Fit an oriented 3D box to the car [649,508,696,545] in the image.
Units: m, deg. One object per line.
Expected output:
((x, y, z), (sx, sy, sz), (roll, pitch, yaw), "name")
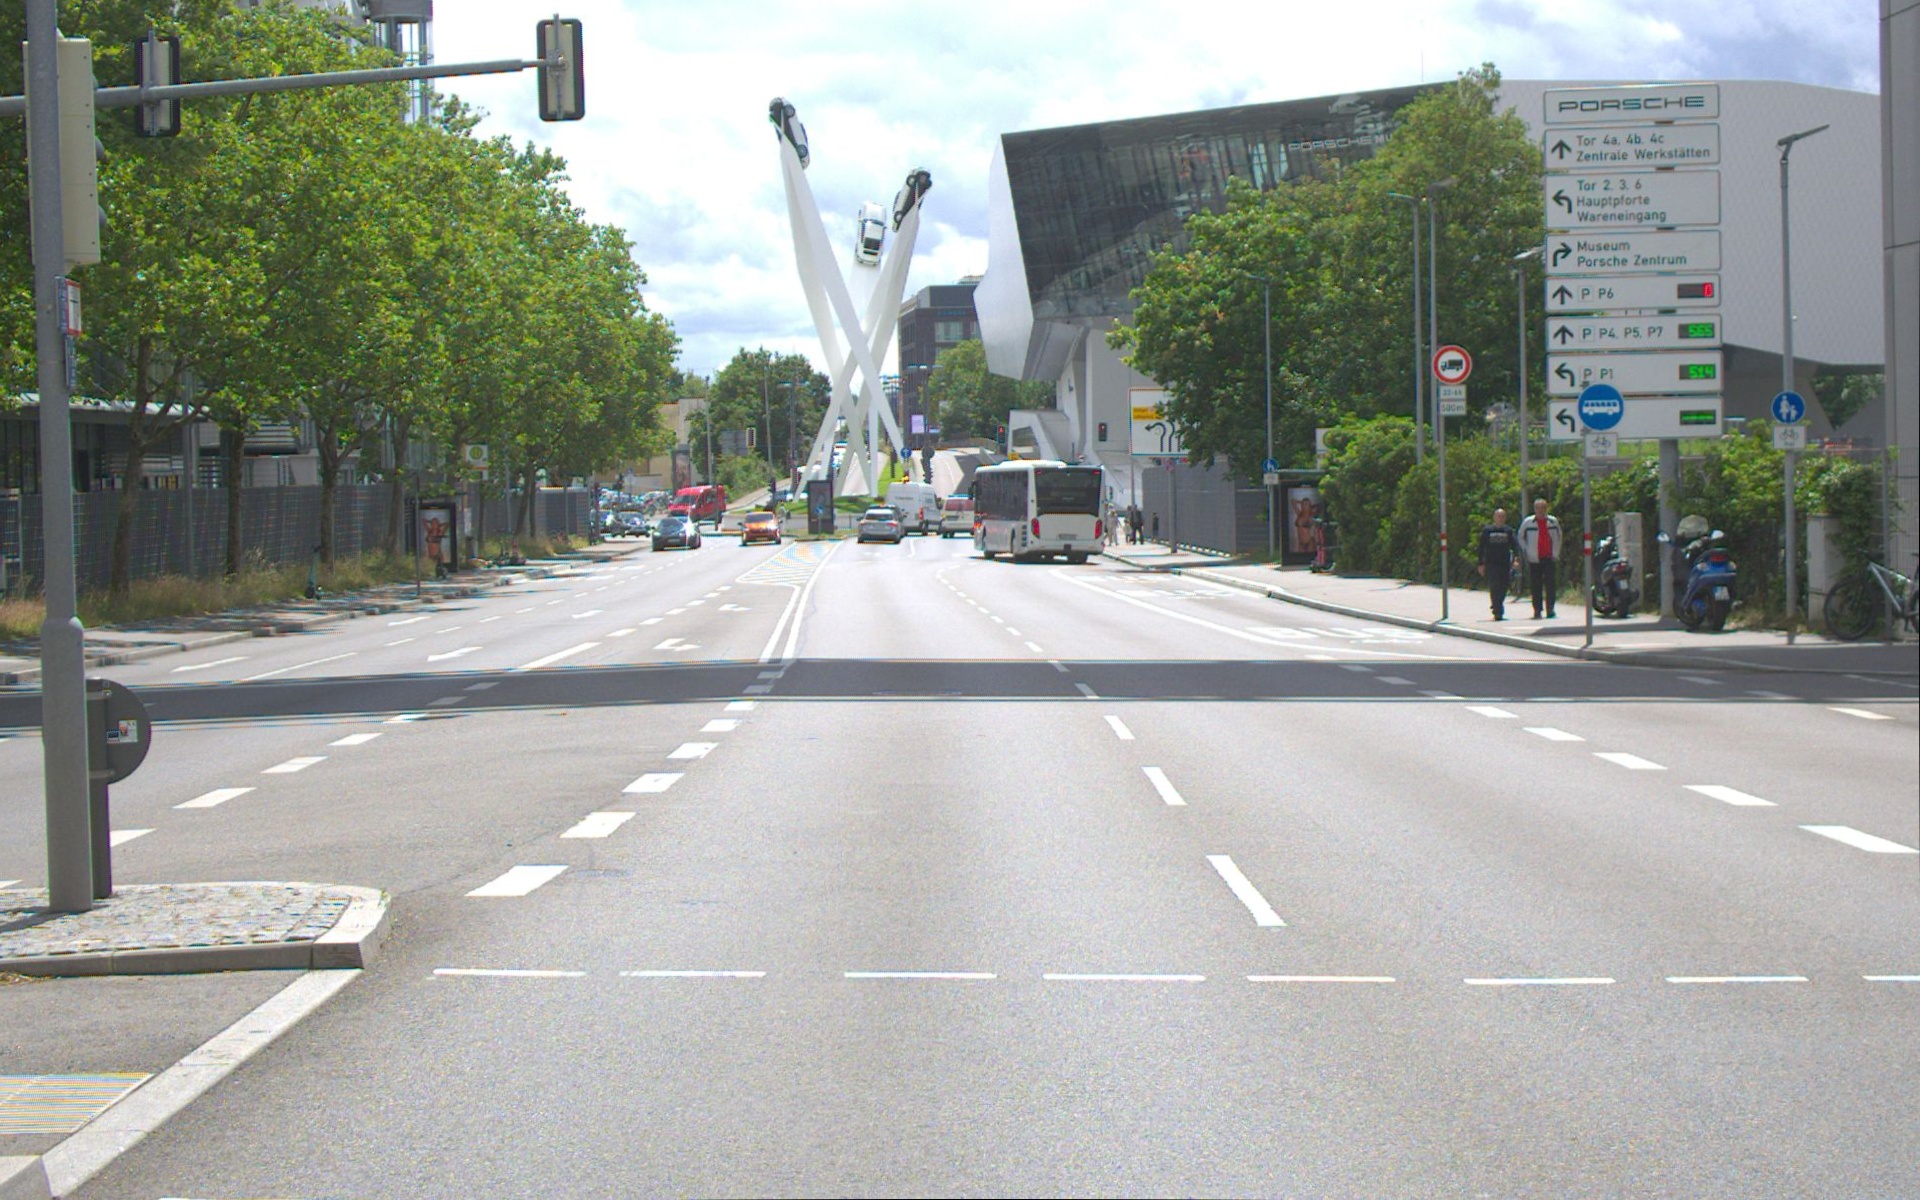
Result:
((-12.549, -3.208, 150.386), (1.818, 1.532, 3.679), (-2, 1, -2), "car")

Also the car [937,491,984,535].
((0.035, -4.173, 165.565), (1.994, 2.007, 3.999), (1, 0, 3), "car")

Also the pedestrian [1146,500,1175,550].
((8.120, -3.032, 139.122), (1.028, 2.007, 0.885), (1, 0, -4), "pedestrian")

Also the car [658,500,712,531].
((-18.115, -5.559, 226.572), (1.996, 2.007, 3.996), (0, 1, 22), "car")

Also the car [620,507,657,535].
((-18.357, -4.519, 196.365), (1.818, 1.532, 3.679), (-2, 1, -2), "car")

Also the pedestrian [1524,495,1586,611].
((8.950, -0.710, 51.726), (0.820, 1.735, 0.637), (0, 1, 0), "pedestrian")

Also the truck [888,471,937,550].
((-2.364, -4.448, 172.093), (2.392, 3.884, 6.177), (0, 1, -1), "truck")

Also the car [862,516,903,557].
((-3.348, -2.758, 148.717), (1.738, 1.735, 3.691), (0, 1, -1), "car")

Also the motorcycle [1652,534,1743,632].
((9.615, -0.238, 44.885), (0.706, 1.199, 2.024), (-2, 2, -1), "motorcycle")

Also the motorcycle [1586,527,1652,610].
((10.098, -0.494, 52.742), (0.574, 1.199, 2.024), (-2, 2, -1), "motorcycle")

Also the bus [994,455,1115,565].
((3.097, -3.015, 116.011), (3.452, 3.531, 10.607), (0, 1, -2), "bus")

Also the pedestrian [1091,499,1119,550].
((5.869, -3.044, 138.966), (1.028, 2.007, 0.885), (1, 0, -4), "pedestrian")

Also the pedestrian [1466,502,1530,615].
((8.106, -0.630, 51.860), (0.820, 1.701, 0.881), (0, 1, -1), "pedestrian")

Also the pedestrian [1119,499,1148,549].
((7.014, -3.058, 138.867), (1.028, 2.007, 0.885), (1, 0, -4), "pedestrian")

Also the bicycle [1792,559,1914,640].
((10.621, -0.019, 40.965), (0.397, 0.933, 1.929), (0, 1, -19), "bicycle")

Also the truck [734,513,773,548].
((-9.127, -3.058, 151.686), (1.583, 1.532, 3.679), (0, 1, -6), "truck")
